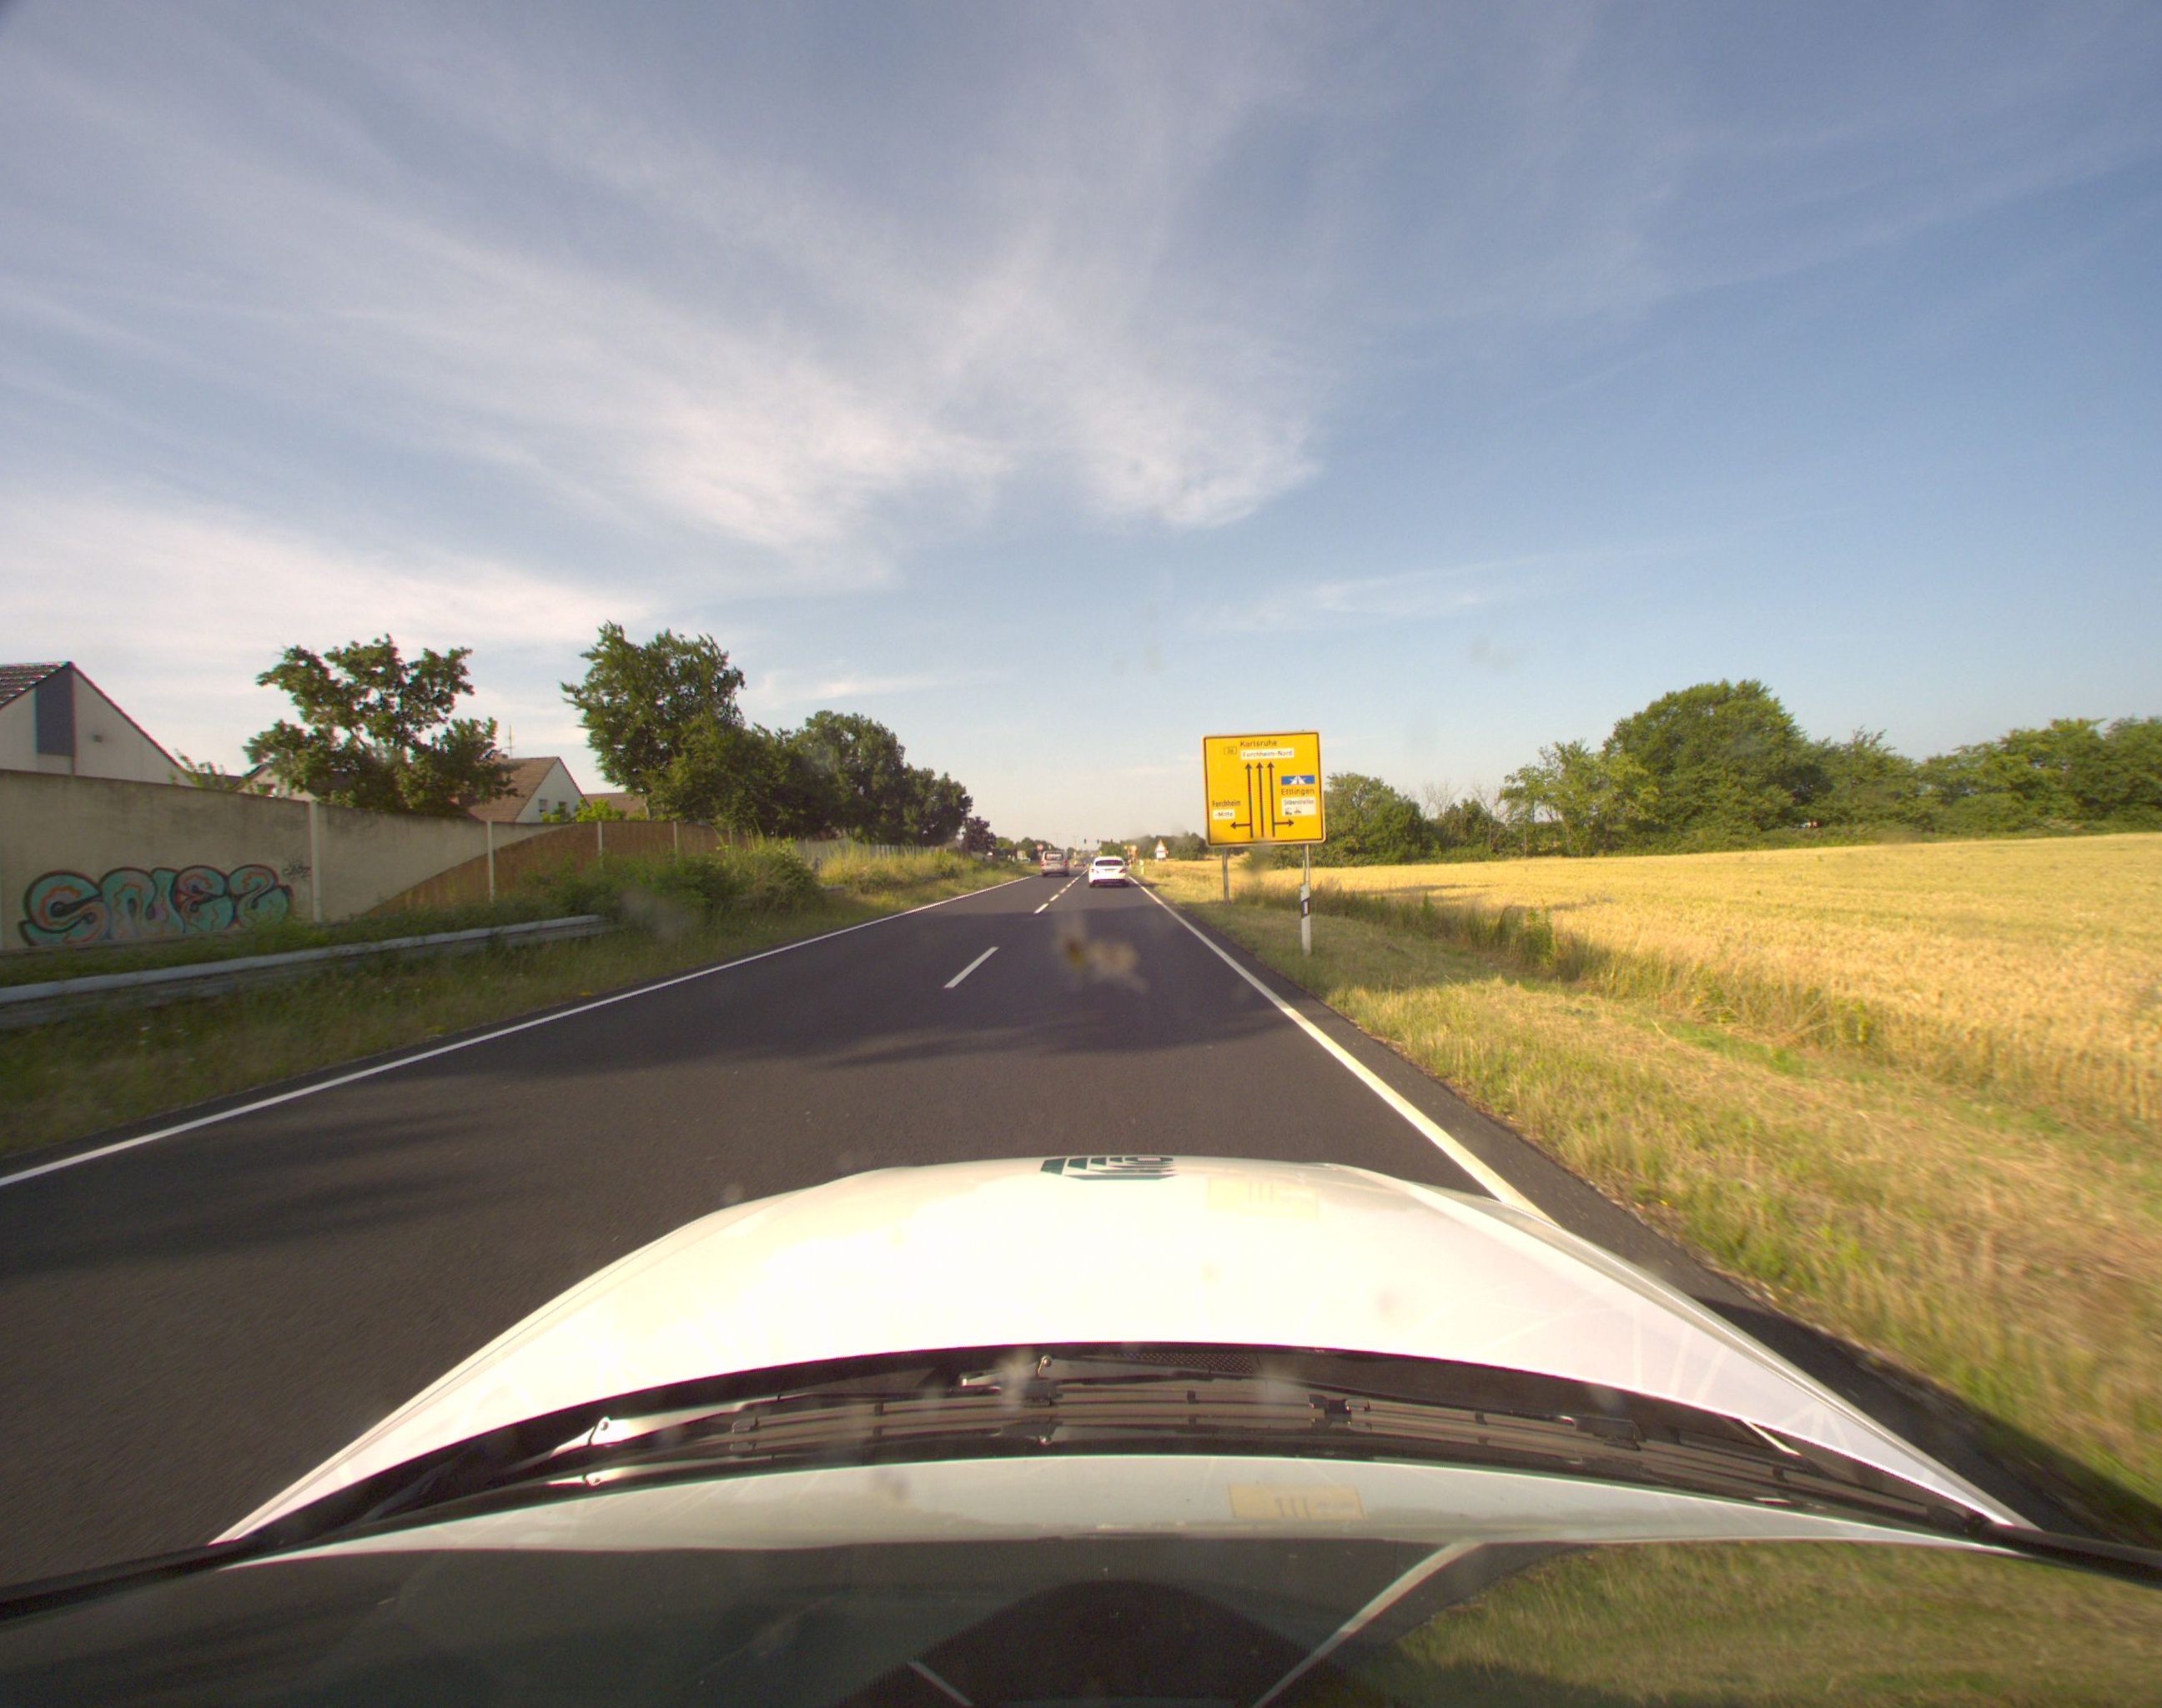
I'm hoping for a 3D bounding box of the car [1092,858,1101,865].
[{"bbox_3d":[3.855,1.864,200.915,1.831,1.684,4.004,-1,0,3],"label":"car"}]

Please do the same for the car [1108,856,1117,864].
[{"bbox_3d":[6.325,1.244,162.707,1.747,1.517,4.001,-2,0,2],"label":"car"}]

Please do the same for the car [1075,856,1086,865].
[{"bbox_3d":[-0.029,1.053,139.598,1.711,1.492,3.585,0,0,1],"label":"car"}]

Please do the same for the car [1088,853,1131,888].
[{"bbox_3d":[1.307,0.751,38.541,1.888,1.509,4.000,-1,0,1],"label":"car"}]

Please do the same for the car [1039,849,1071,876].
[{"bbox_3d":[-1.855,0.603,59.773,2.017,1.892,4.960,0,0,2],"label":"car"}]
